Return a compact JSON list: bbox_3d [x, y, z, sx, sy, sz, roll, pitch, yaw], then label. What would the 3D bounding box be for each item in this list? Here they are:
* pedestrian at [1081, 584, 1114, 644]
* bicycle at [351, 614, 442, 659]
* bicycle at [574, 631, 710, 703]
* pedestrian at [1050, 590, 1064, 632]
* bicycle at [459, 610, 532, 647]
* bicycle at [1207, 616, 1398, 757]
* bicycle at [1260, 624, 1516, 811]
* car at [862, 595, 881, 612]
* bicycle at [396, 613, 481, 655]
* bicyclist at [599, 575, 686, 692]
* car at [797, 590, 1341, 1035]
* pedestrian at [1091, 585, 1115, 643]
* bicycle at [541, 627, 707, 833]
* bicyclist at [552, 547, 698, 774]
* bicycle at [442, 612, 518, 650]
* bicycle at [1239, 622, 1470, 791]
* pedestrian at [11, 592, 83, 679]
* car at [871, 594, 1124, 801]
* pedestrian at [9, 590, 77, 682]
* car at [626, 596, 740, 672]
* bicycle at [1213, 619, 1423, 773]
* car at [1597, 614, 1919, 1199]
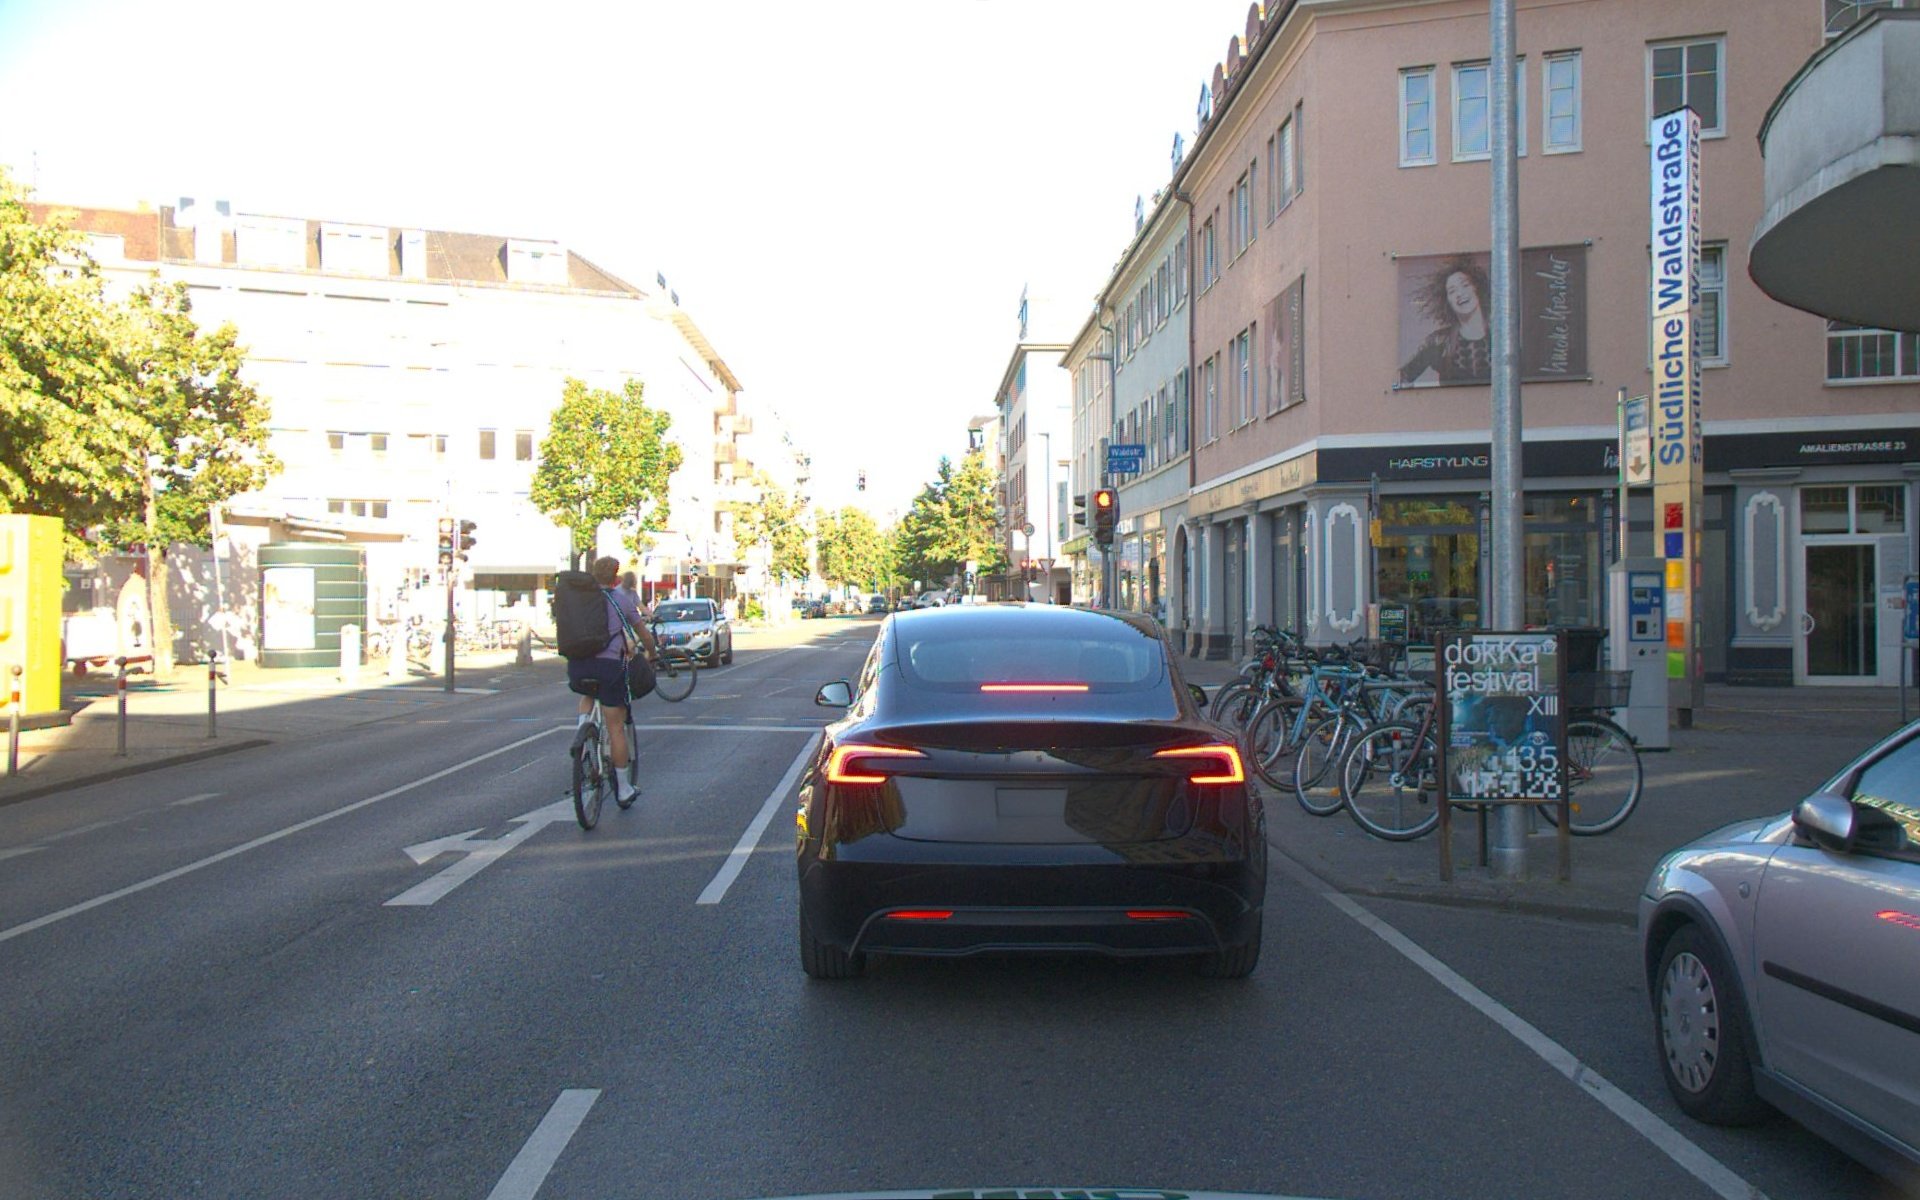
[{"bbox_3d":[4.294,0.429,51.797,0.979,1.883,0.615,0,0,-1],"label":"pedestrian"},{"bbox_3d":[-14.455,0.924,42.450,2.040,1.123,0.806,0,0,-1],"label":"bicycle"},{"bbox_3d":[-4.649,0.970,24.192,1.823,0.962,0.629,1,0,10],"label":"bicycle"},{"bbox_3d":[4.026,0.444,68.550,0.559,1.720,0.387,0,0,-1],"label":"pedestrian"},{"bbox_3d":[-14.573,0.889,51.936,2.040,1.123,0.806,0,0,-1],"label":"bicycle"},{"bbox_3d":[3.052,0.767,14.797,1.594,1.180,0.433,-2,0,0],"label":"bicycle"},{"bbox_3d":[2.890,0.782,11.233,1.595,1.180,0.432,-2,0,-2],"label":"bicycle"},{"bbox_3d":[-8.865,0.336,165.567,1.793,1.754,3.998,0,0,-2],"label":"car"},{"bbox_3d":[-14.161,0.912,44.975,2.040,1.123,0.806,0,0,-1],"label":"bicycle"},{"bbox_3d":[-4.636,0.473,24.190,1.096,1.683,0.629,0,0,10],"label":"bicyclist"},{"bbox_3d":[0.366,0.706,7.413,1.812,1.480,3.786,0,0,0],"label":"car"},{"bbox_3d":[4.482,0.444,51.714,0.689,1.814,0.533,0,0,-1],"label":"pedestrian"},{"bbox_3d":[-2.238,0.830,11.240,0.780,1.254,1.773,0,0,-1],"label":"bicycle"},{"bbox_3d":[-2.233,0.389,11.132,0.780,1.460,1.008,0,0,-1],"label":"bicyclist"},{"bbox_3d":[-14.430,0.930,49.745,2.040,1.123,0.806,0,0,-1],"label":"bicycle"},{"bbox_3d":[2.941,0.785,12.381,1.595,1.180,0.432,-2,0,-2],"label":"bicycle"},{"bbox_3d":[-17.734,0.672,32.147,0.966,1.665,0.737,0,0,3],"label":"pedestrian"},{"bbox_3d":[0.270,0.698,13.794,1.812,1.480,3.786,0,0,0],"label":"car"},{"bbox_3d":[-17.777,0.689,32.089,0.882,1.755,0.744,0,0,3],"label":"pedestrian"},{"bbox_3d":[-6.380,0.749,38.511,1.953,1.567,3.999,-4,0,-1],"label":"car"},{"bbox_3d":[2.935,0.780,13.609,1.595,1.180,0.432,-2,0,-2],"label":"bicycle"},{"bbox_3d":[2.920,0.761,3.580,1.588,1.419,3.886,0,0,0],"label":"car"}]
